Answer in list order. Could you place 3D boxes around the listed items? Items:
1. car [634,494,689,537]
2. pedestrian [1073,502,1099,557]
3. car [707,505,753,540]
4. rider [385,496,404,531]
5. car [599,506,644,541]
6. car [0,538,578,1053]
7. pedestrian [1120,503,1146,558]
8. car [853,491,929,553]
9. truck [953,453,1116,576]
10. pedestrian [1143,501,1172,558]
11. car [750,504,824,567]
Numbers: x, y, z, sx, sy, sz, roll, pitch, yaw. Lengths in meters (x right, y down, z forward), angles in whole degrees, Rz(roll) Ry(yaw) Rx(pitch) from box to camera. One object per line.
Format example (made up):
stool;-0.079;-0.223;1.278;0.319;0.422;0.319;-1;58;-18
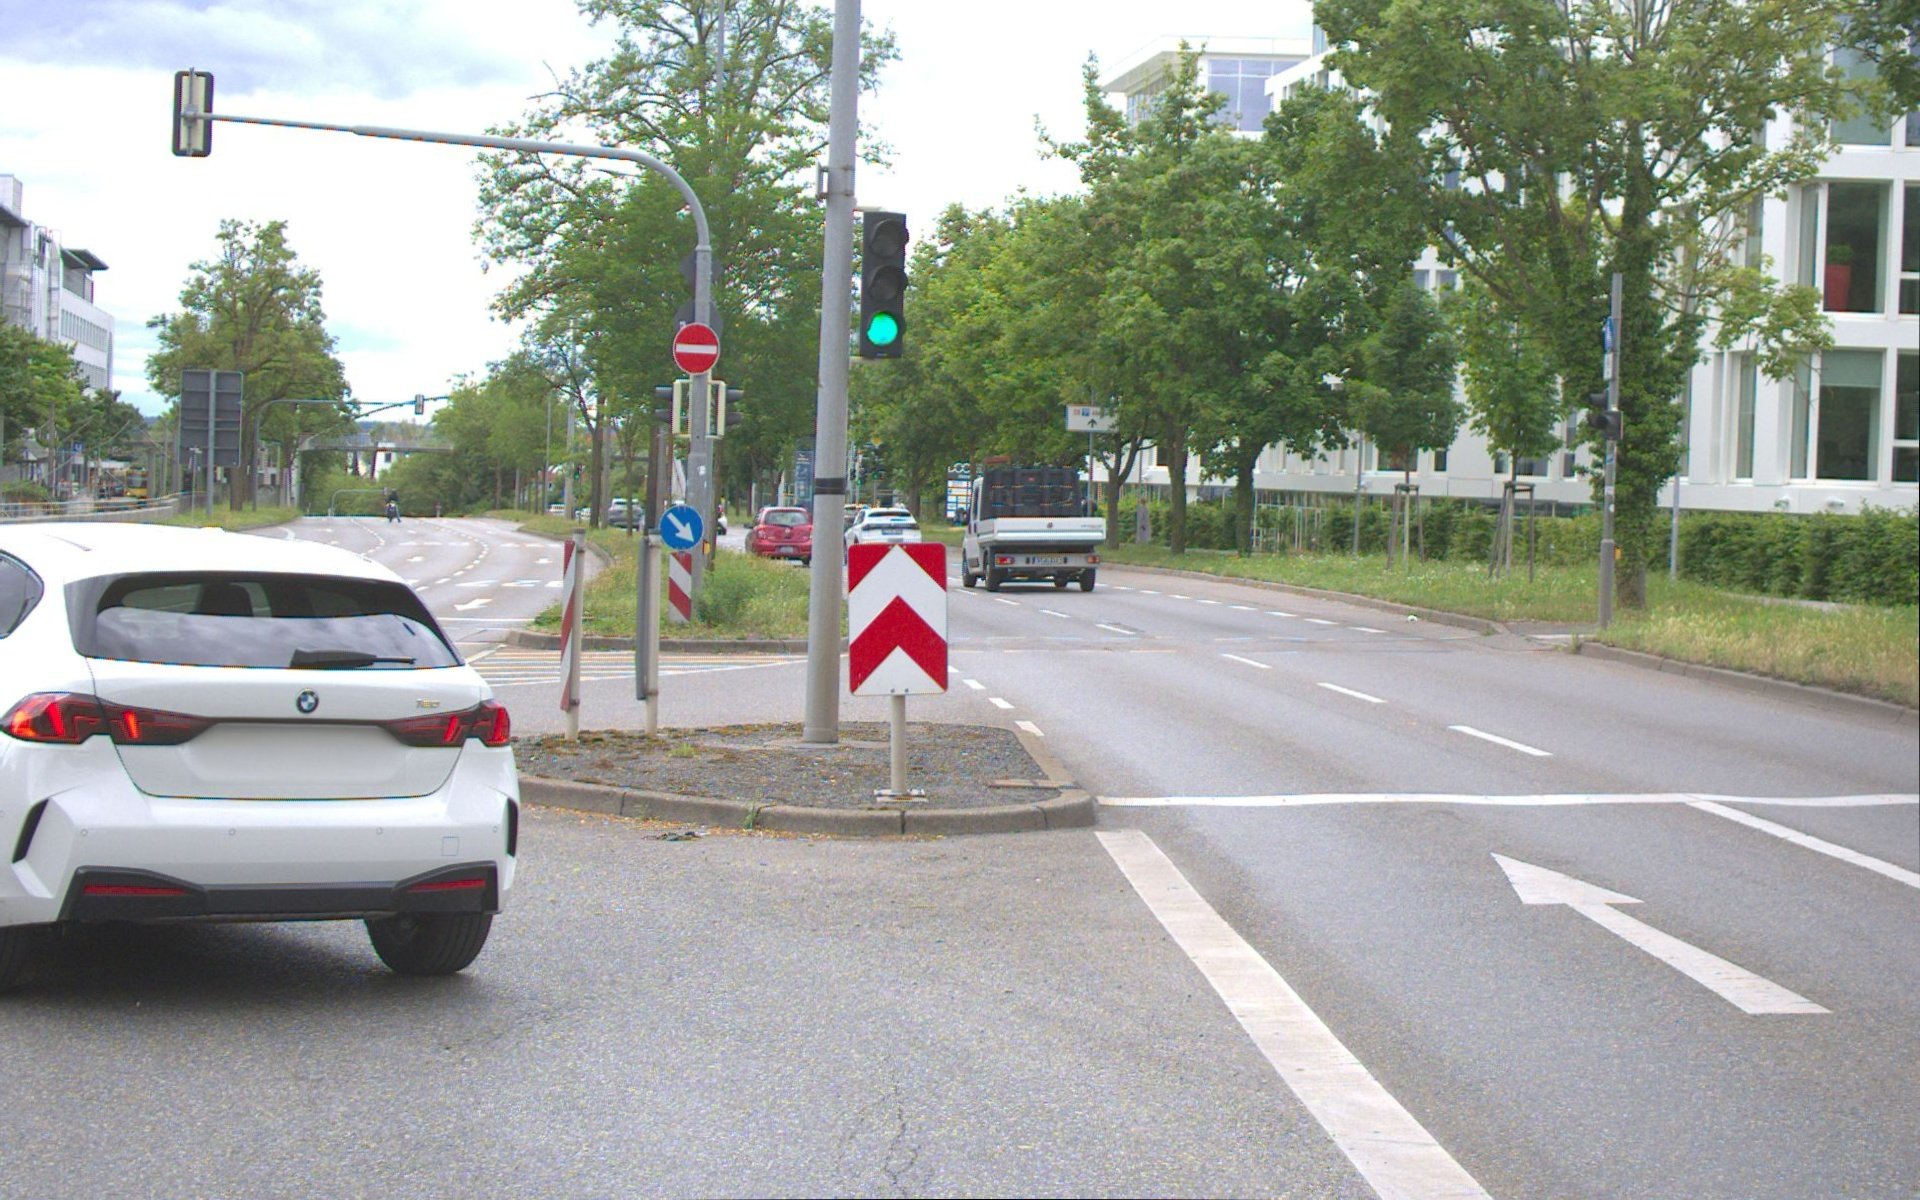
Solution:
car;-11.354;-3.225;130.644;1.854;1.590;4.315;0;1;-8
pedestrian;4.690;-2.632;128.131;0.762;2.007;0.754;1;1;-14
car;-10.551;-3.557;157.612;1.854;1.590;4.315;0;1;-7
rider;-28.922;-4.419;175.836;0.846;1.765;0.808;1;1;-2
car;-16.350;-3.705;165.878;1.891;1.590;4.315;1;1;-8
car;-3.046;0.522;11.921;1.822;1.433;4.000;1;1;-32
pedestrian;6.374;-2.571;126.731;0.762;2.007;0.754;1;1;-14
car;-1.818;-2.040;89.547;1.715;1.550;4.090;1;1;-4
truck;1.347;-1.620;65.359;2.211;2.196;5.846;1;1;-7
pedestrian;7.031;-2.495;122.405;0.848;2.007;0.606;1;1;-14
car;-4.392;-1.644;86.872;1.716;1.553;3.859;0;1;-5
